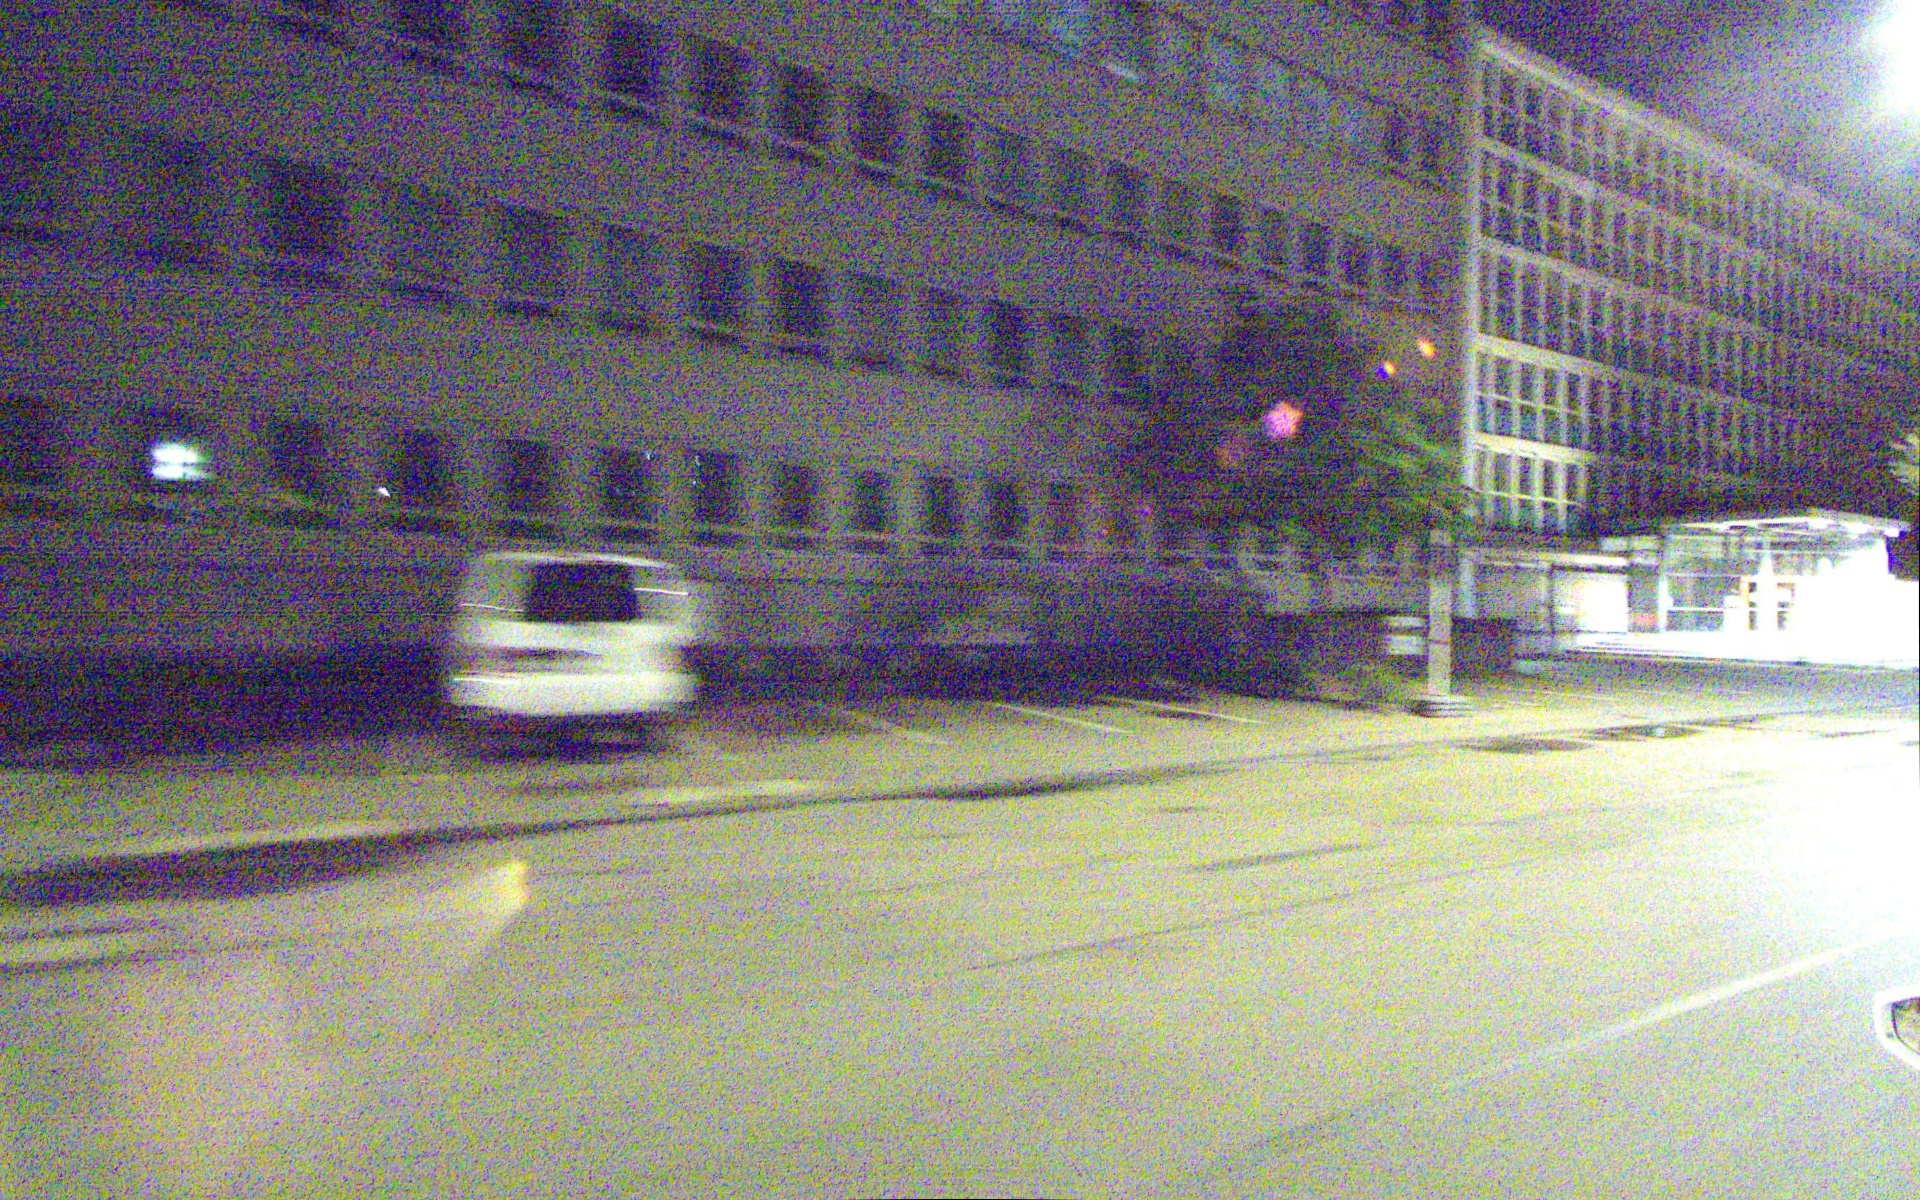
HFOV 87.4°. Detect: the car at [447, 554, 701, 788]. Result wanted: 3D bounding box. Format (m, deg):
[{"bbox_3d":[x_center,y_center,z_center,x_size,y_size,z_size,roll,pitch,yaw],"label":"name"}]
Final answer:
[{"bbox_3d":[-4.413,0.559,11.011,1.976,1.998,4.411,1,1,-29],"label":"car"}]
